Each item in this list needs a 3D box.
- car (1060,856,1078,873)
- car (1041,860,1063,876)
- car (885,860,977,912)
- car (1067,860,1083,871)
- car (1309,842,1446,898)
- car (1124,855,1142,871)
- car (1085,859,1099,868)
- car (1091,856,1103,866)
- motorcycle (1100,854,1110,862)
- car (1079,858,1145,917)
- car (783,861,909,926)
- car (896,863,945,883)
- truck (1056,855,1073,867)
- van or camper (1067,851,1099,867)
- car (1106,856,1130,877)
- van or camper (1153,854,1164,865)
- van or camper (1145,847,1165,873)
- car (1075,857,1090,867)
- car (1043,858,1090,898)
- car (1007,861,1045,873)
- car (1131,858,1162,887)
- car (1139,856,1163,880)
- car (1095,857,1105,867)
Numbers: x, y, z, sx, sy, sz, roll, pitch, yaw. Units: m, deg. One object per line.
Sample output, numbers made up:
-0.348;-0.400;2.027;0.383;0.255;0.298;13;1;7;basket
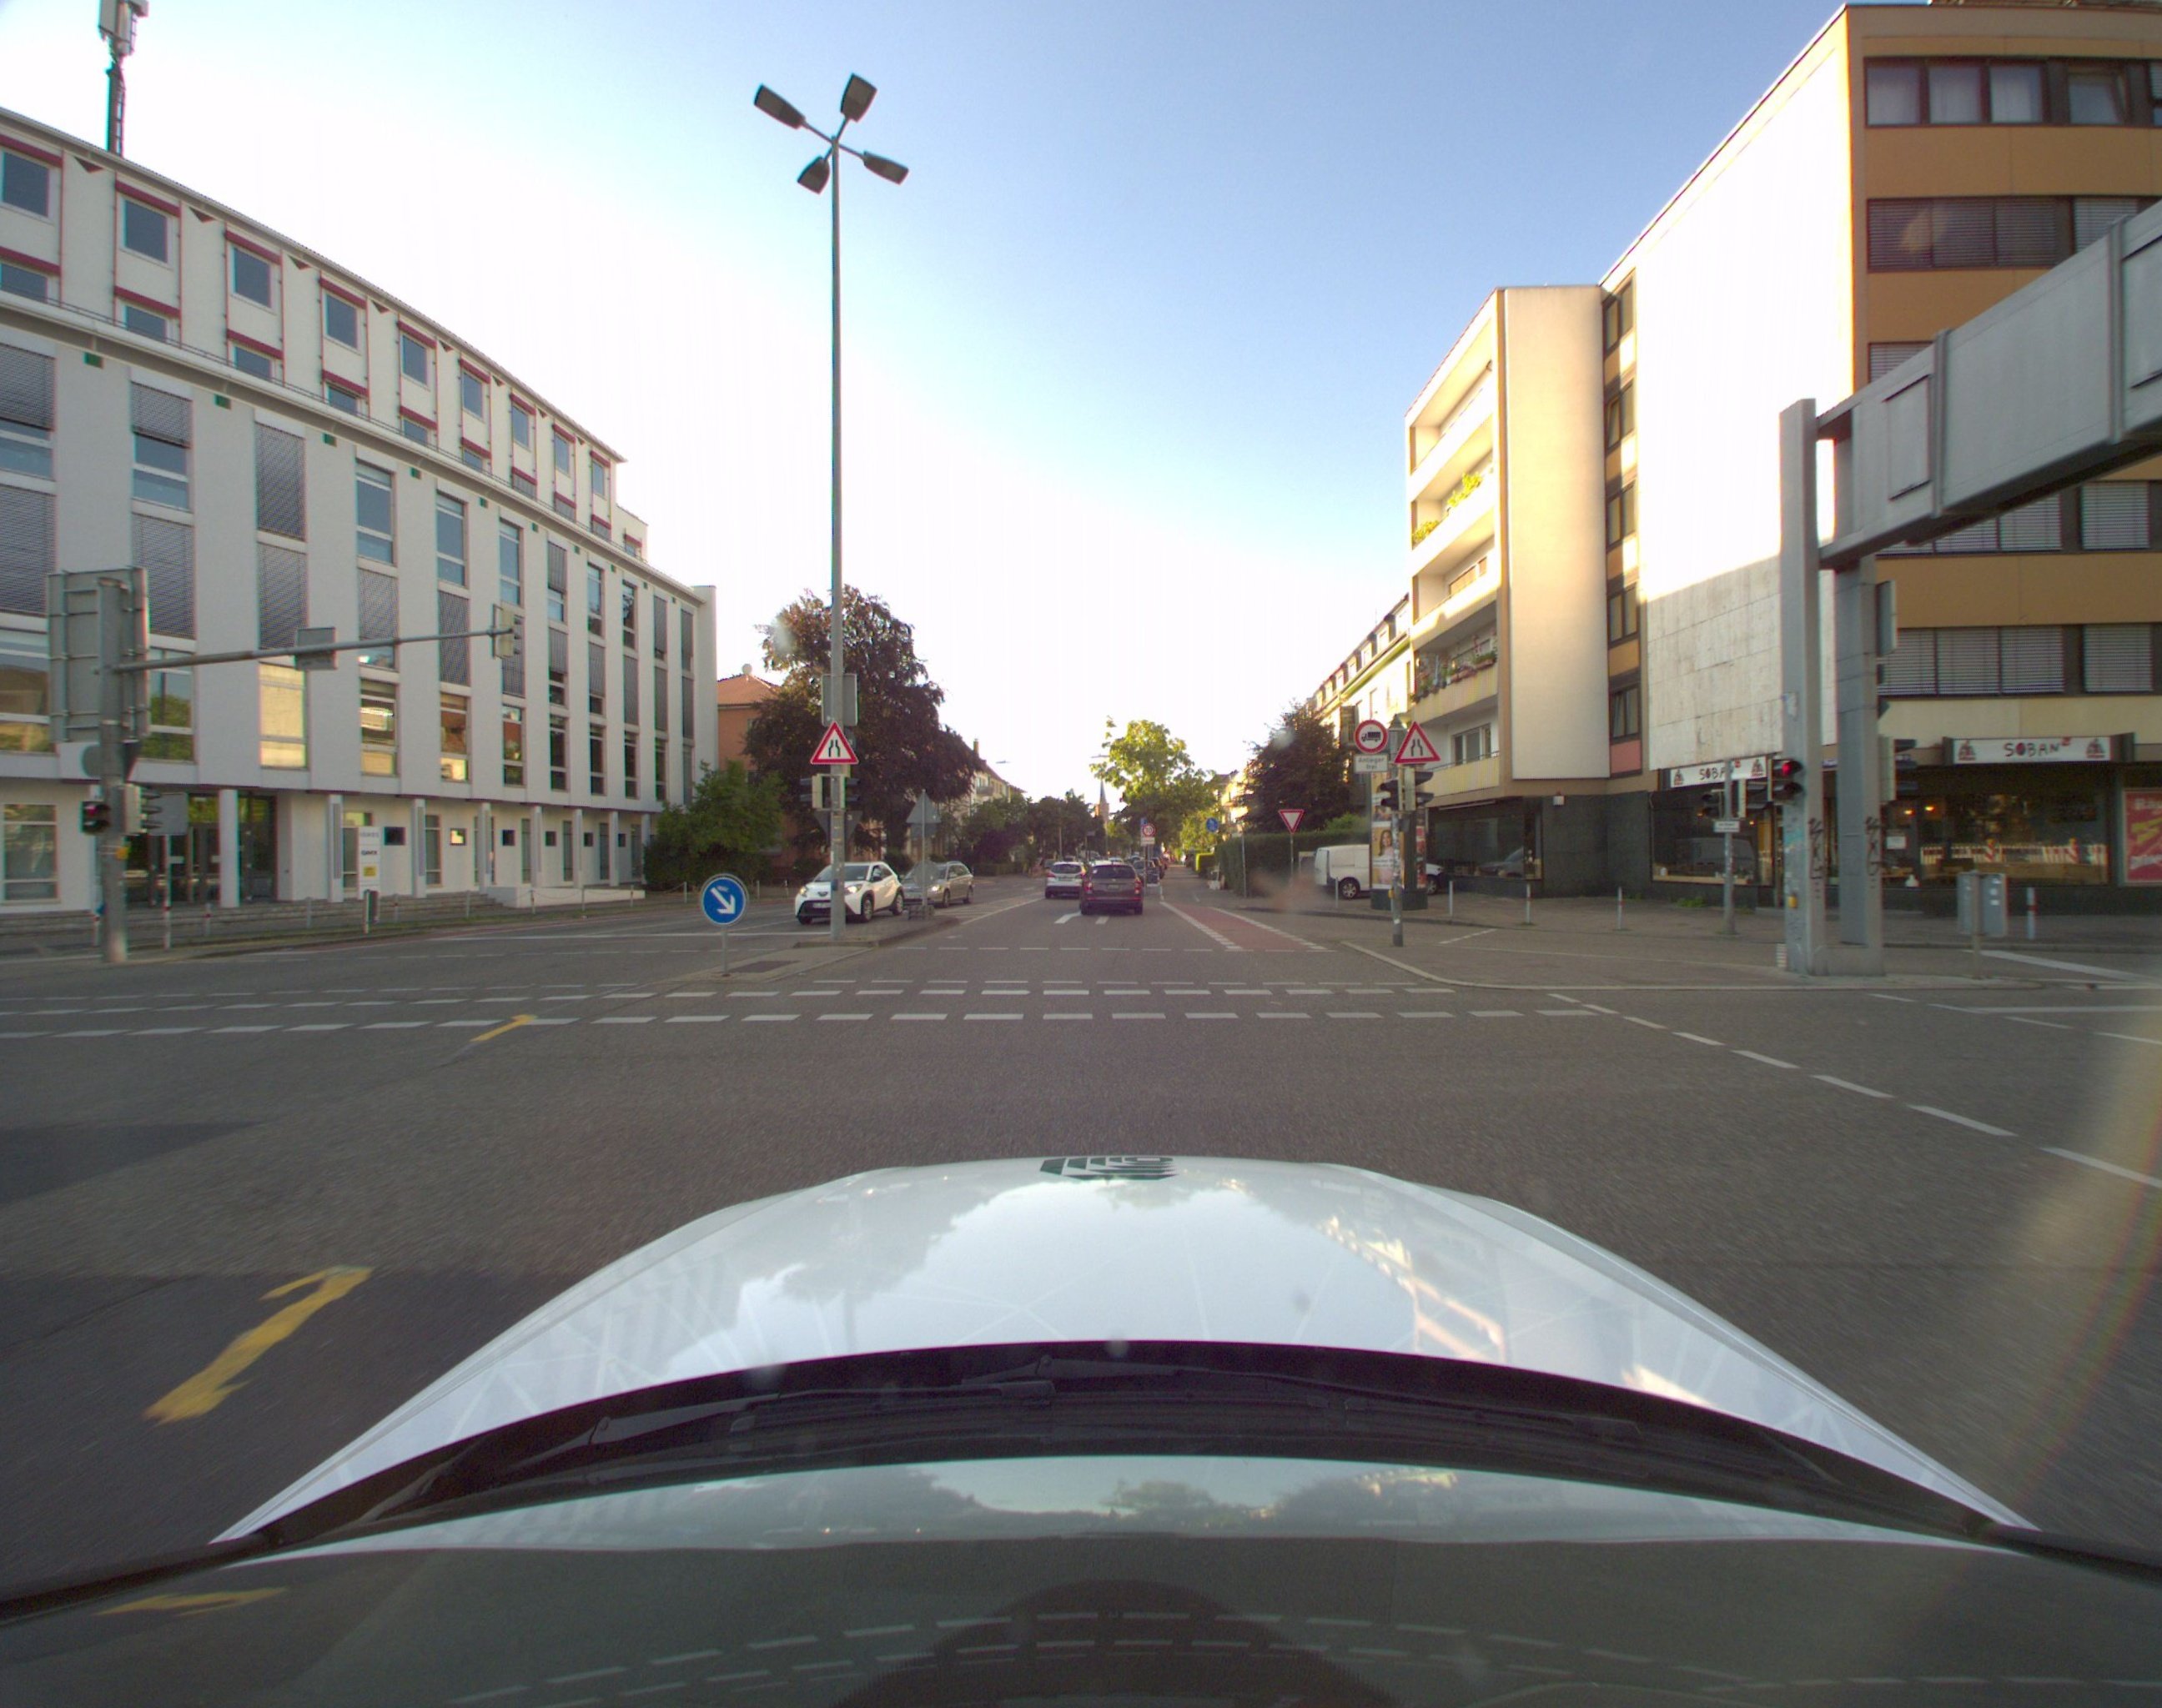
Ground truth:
-1.461;1.299;102.207;1.761;1.919;4.467;-1;0;6;car
-3.023;1.461;86.299;1.741;1.502;4.203;-1;0;6;car
-4.889;1.004;27.193;1.819;1.514;4.611;-1;0;5;car
-0.782;1.540;109.184;1.708;1.421;3.793;-1;0;6;car
10.159;0.539;28.125;4.071;1.814;1.863;-1;0;2;car
5.477;0.923;85.929;1.724;1.651;3.547;-1;0;6;car
1.814;1.572;132.252;1.745;1.420;4.433;-1;0;6;car
2.837;1.252;145.419;1.741;1.740;3.597;-1;0;6;car
4.772;0.774;160.329;0.770;1.512;2.008;-1;0;-37;motorcycle
0.903;0.906;23.715;1.723;1.494;3.953;-1;0;2;car
-5.959;0.957;21.149;1.819;1.460;3.908;-1;0;5;car
-12.848;1.483;65.185;3.484;1.486;1.816;-1;0;1;car
-2.942;1.195;147.396;2.899;2.093;1.548;-1;0;5;truck
0.584;1.214;197.105;7.607;3.874;2.002;-1;0;3;van or camper
3.087;1.047;67.655;1.724;1.651;3.547;-1;0;6;car
15.116;1.091;158.369;1.984;2.013;4.007;-1;0;6;van or camper
8.090;0.657;89.060;2.057;2.675;5.999;-1;-1;6;van or camper
0.261;1.162;119.879;1.708;1.497;4.255;-1;0;6;car
-0.541;0.924;33.472;1.723;1.494;3.953;-1;0;2;car
-7.065;1.666;103.981;4.707;1.362;1.995;-1;0;-8;car
3.932;1.076;48.213;1.724;1.551;3.652;-1;0;6;car
5.344;1.032;61.919;1.724;1.651;4.298;-1;0;6;car
3.581;1.414;150.045;1.499;1.757;3.699;-1;0;6;car
